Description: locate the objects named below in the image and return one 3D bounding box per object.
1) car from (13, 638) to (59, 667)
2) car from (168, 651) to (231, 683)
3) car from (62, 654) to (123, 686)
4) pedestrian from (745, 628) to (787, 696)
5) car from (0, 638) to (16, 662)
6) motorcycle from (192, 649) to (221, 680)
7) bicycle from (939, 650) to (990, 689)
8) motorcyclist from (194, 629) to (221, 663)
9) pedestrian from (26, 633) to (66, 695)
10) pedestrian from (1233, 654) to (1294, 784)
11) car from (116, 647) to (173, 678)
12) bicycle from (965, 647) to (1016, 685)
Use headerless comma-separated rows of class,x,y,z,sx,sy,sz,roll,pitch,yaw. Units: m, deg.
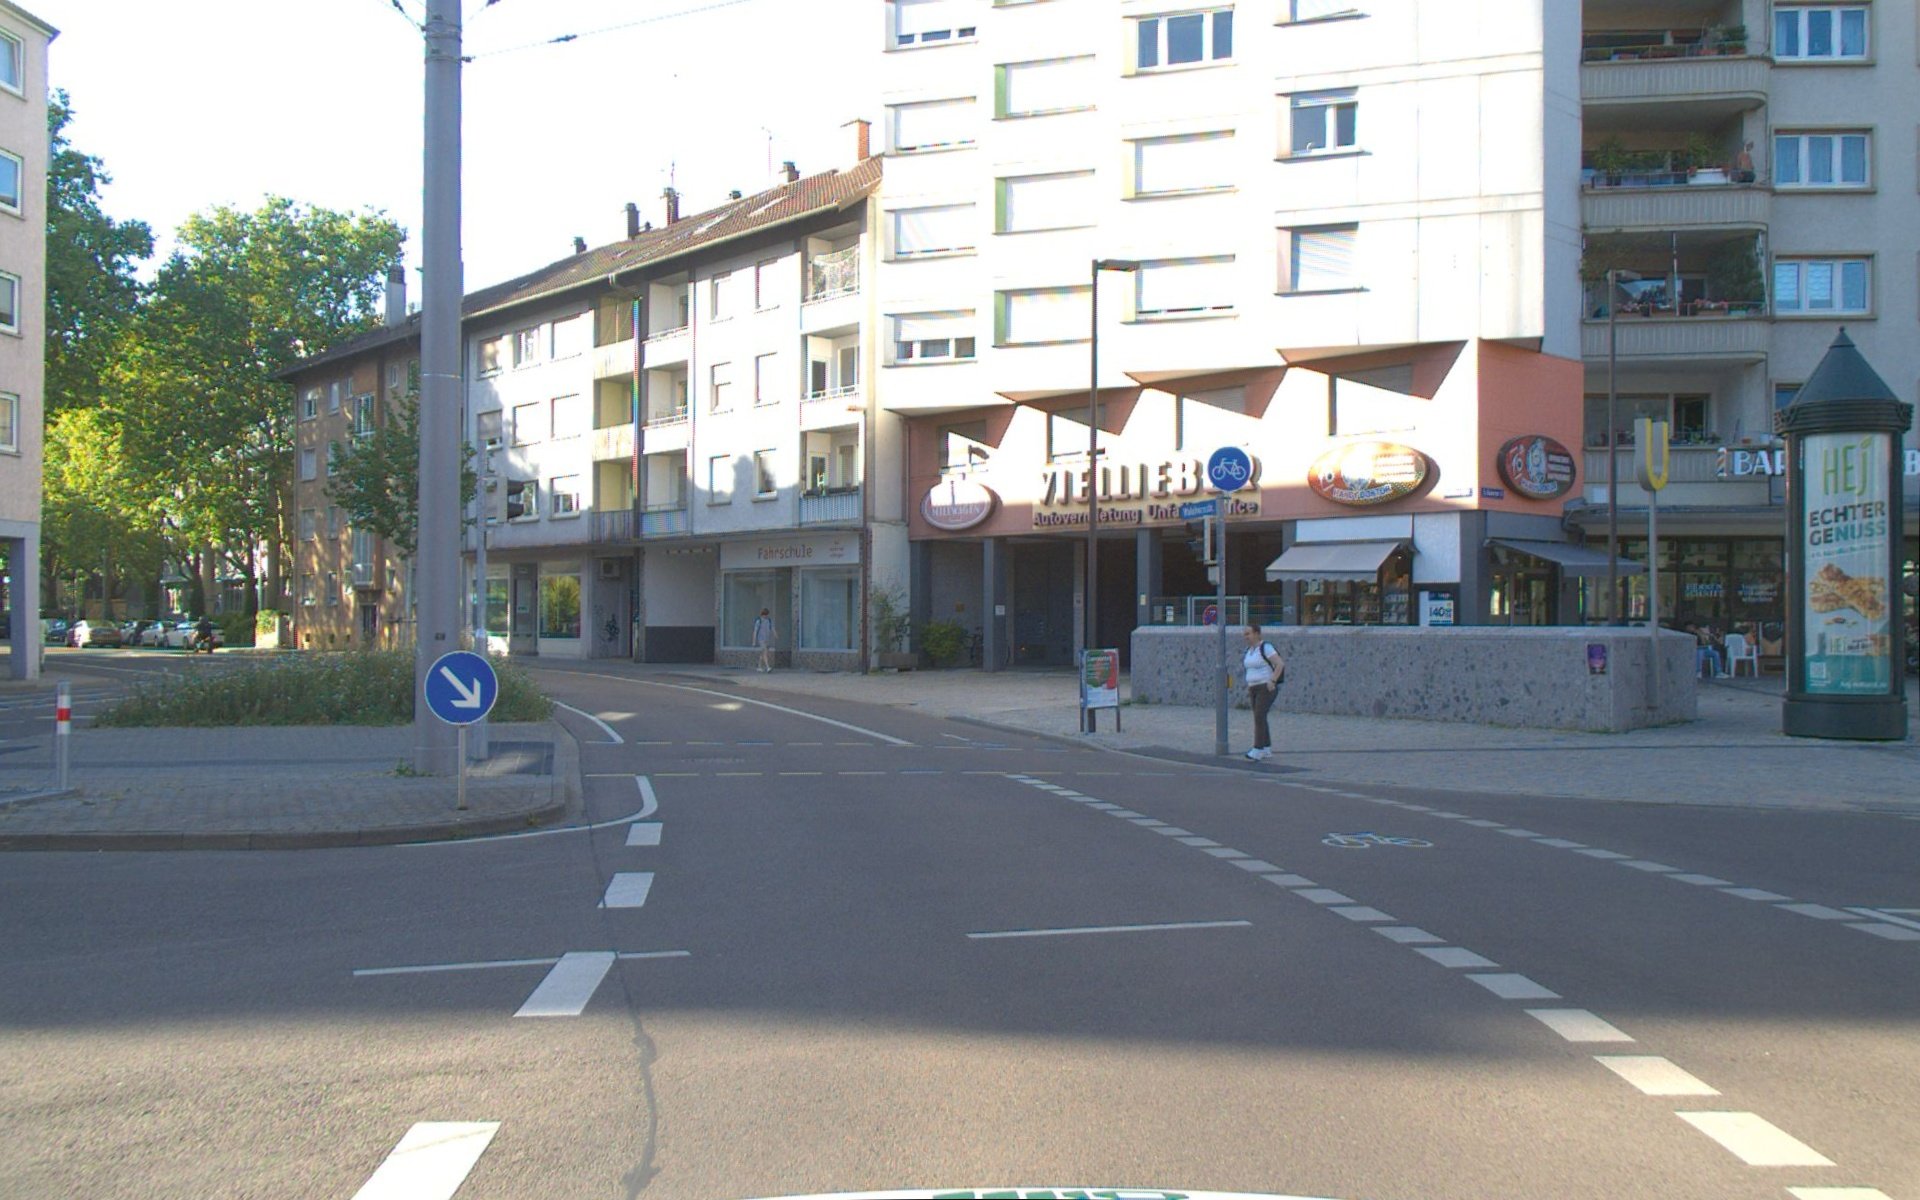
car,-64.848,3.681,116.035,2.022,1.968,4.030,1,-2,-42
car,-40.901,3.578,88.951,2.022,1.531,4.031,0,0,-42
car,-44.666,3.589,85.136,1.913,1.413,3.940,0,0,-41
pedestrian,-5.559,1.758,47.357,0.727,1.886,0.933,-3,1,-42
car,-72.660,3.785,124.487,2.022,1.773,4.030,1,-2,-42
motorcycle,-32.022,2.728,70.330,0.960,1.151,2.786,2,0,-22
bicycle,0.117,1.948,46.721,0.492,1.057,1.613,1,-2,-41
motorcyclist,-32.052,1.955,70.437,0.957,1.370,1.130,2,0,-23
pedestrian,-26.233,1.821,47.474,0.763,1.754,0.802,0,-1,45
pedestrian,3.869,1.501,21.076,0.536,1.611,0.549,1,0,-40
car,-48.156,3.690,97.597,2.022,1.645,4.031,0,0,-42
bicycle,0.866,1.877,47.185,0.492,1.057,1.613,1,-2,-41
